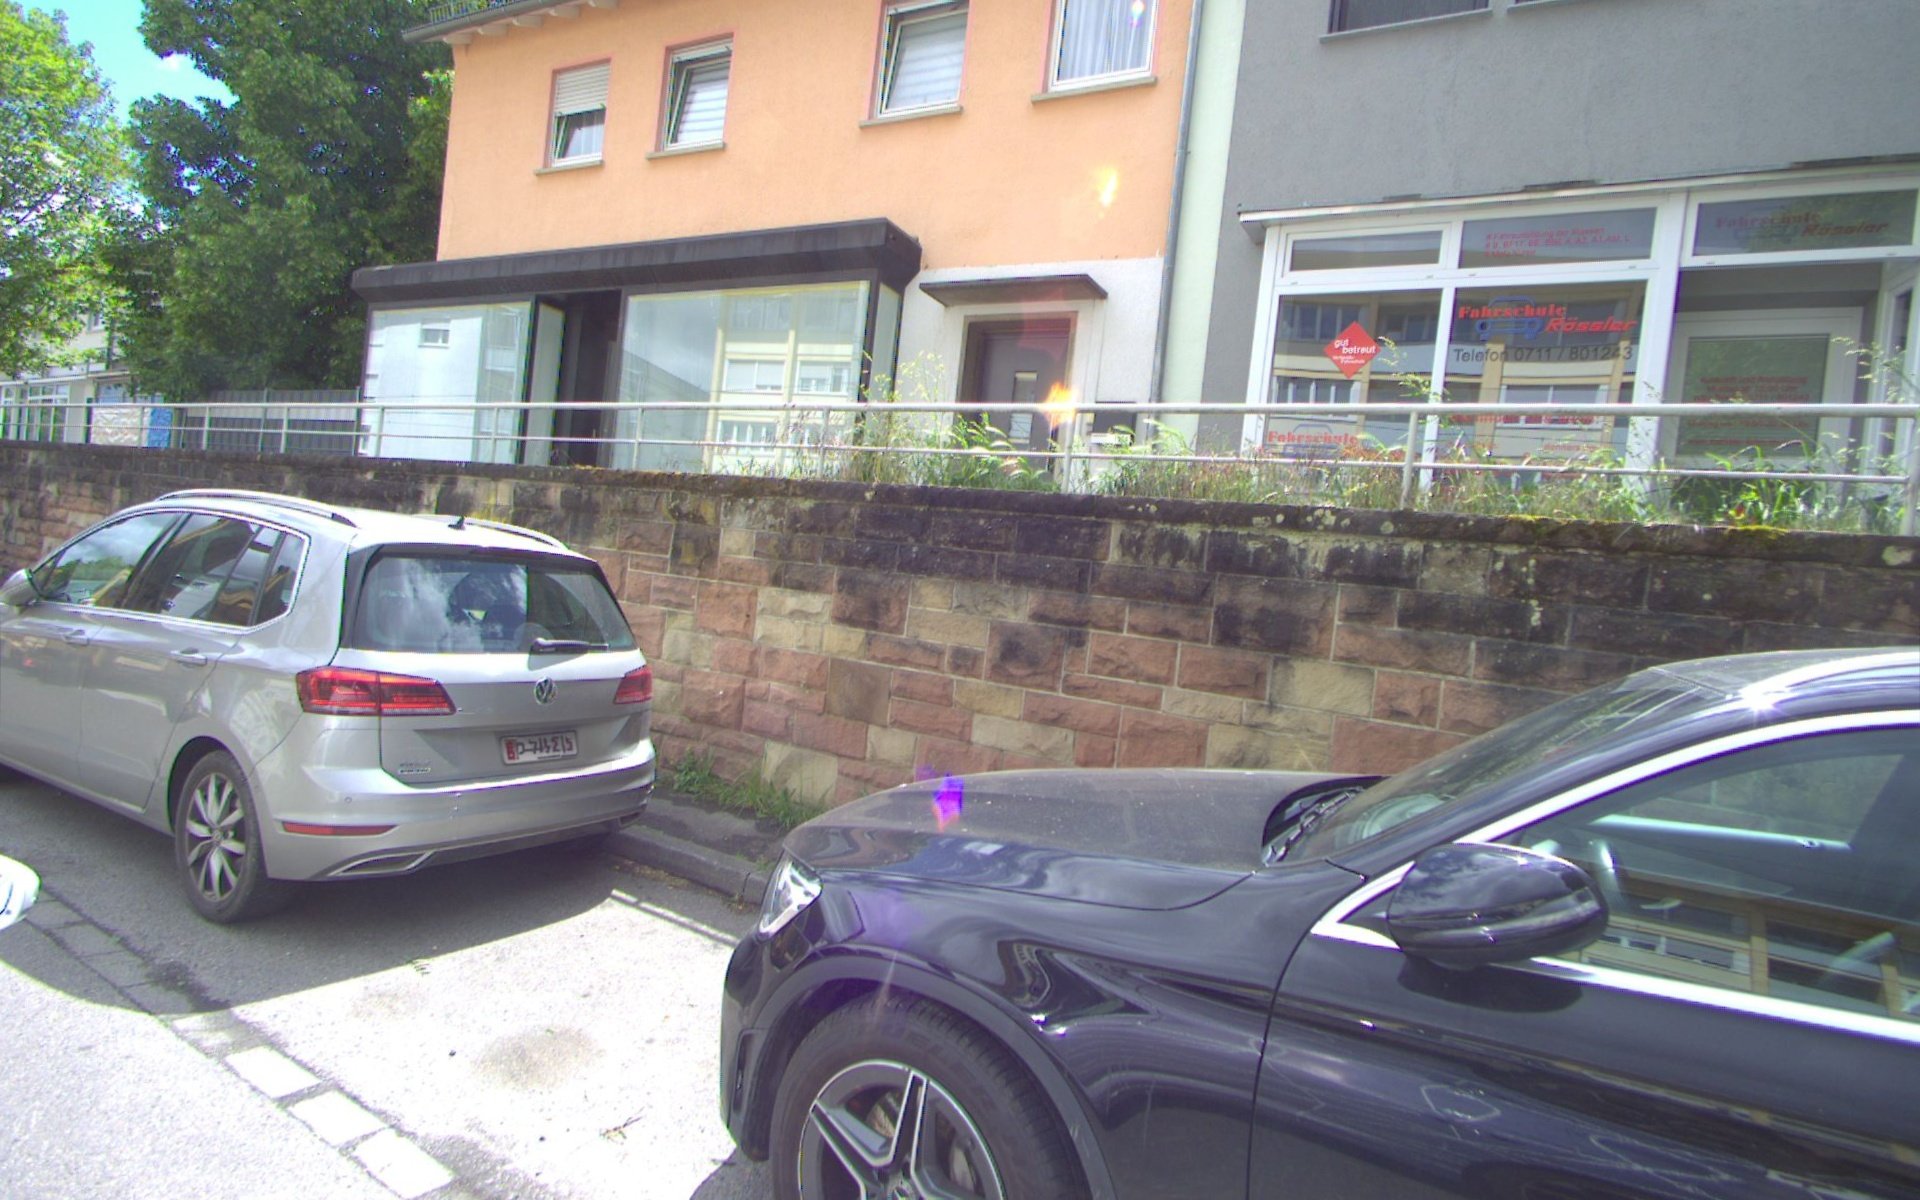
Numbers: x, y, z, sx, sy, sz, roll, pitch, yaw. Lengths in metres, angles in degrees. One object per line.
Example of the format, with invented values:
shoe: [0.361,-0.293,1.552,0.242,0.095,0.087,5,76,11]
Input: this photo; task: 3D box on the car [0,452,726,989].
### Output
car: [-3.409,0.258,5.031,4.177,1.638,1.791,7,1,31]

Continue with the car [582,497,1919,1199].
car: [1.527,0.842,1.908,4.373,1.639,1.791,7,2,31]
